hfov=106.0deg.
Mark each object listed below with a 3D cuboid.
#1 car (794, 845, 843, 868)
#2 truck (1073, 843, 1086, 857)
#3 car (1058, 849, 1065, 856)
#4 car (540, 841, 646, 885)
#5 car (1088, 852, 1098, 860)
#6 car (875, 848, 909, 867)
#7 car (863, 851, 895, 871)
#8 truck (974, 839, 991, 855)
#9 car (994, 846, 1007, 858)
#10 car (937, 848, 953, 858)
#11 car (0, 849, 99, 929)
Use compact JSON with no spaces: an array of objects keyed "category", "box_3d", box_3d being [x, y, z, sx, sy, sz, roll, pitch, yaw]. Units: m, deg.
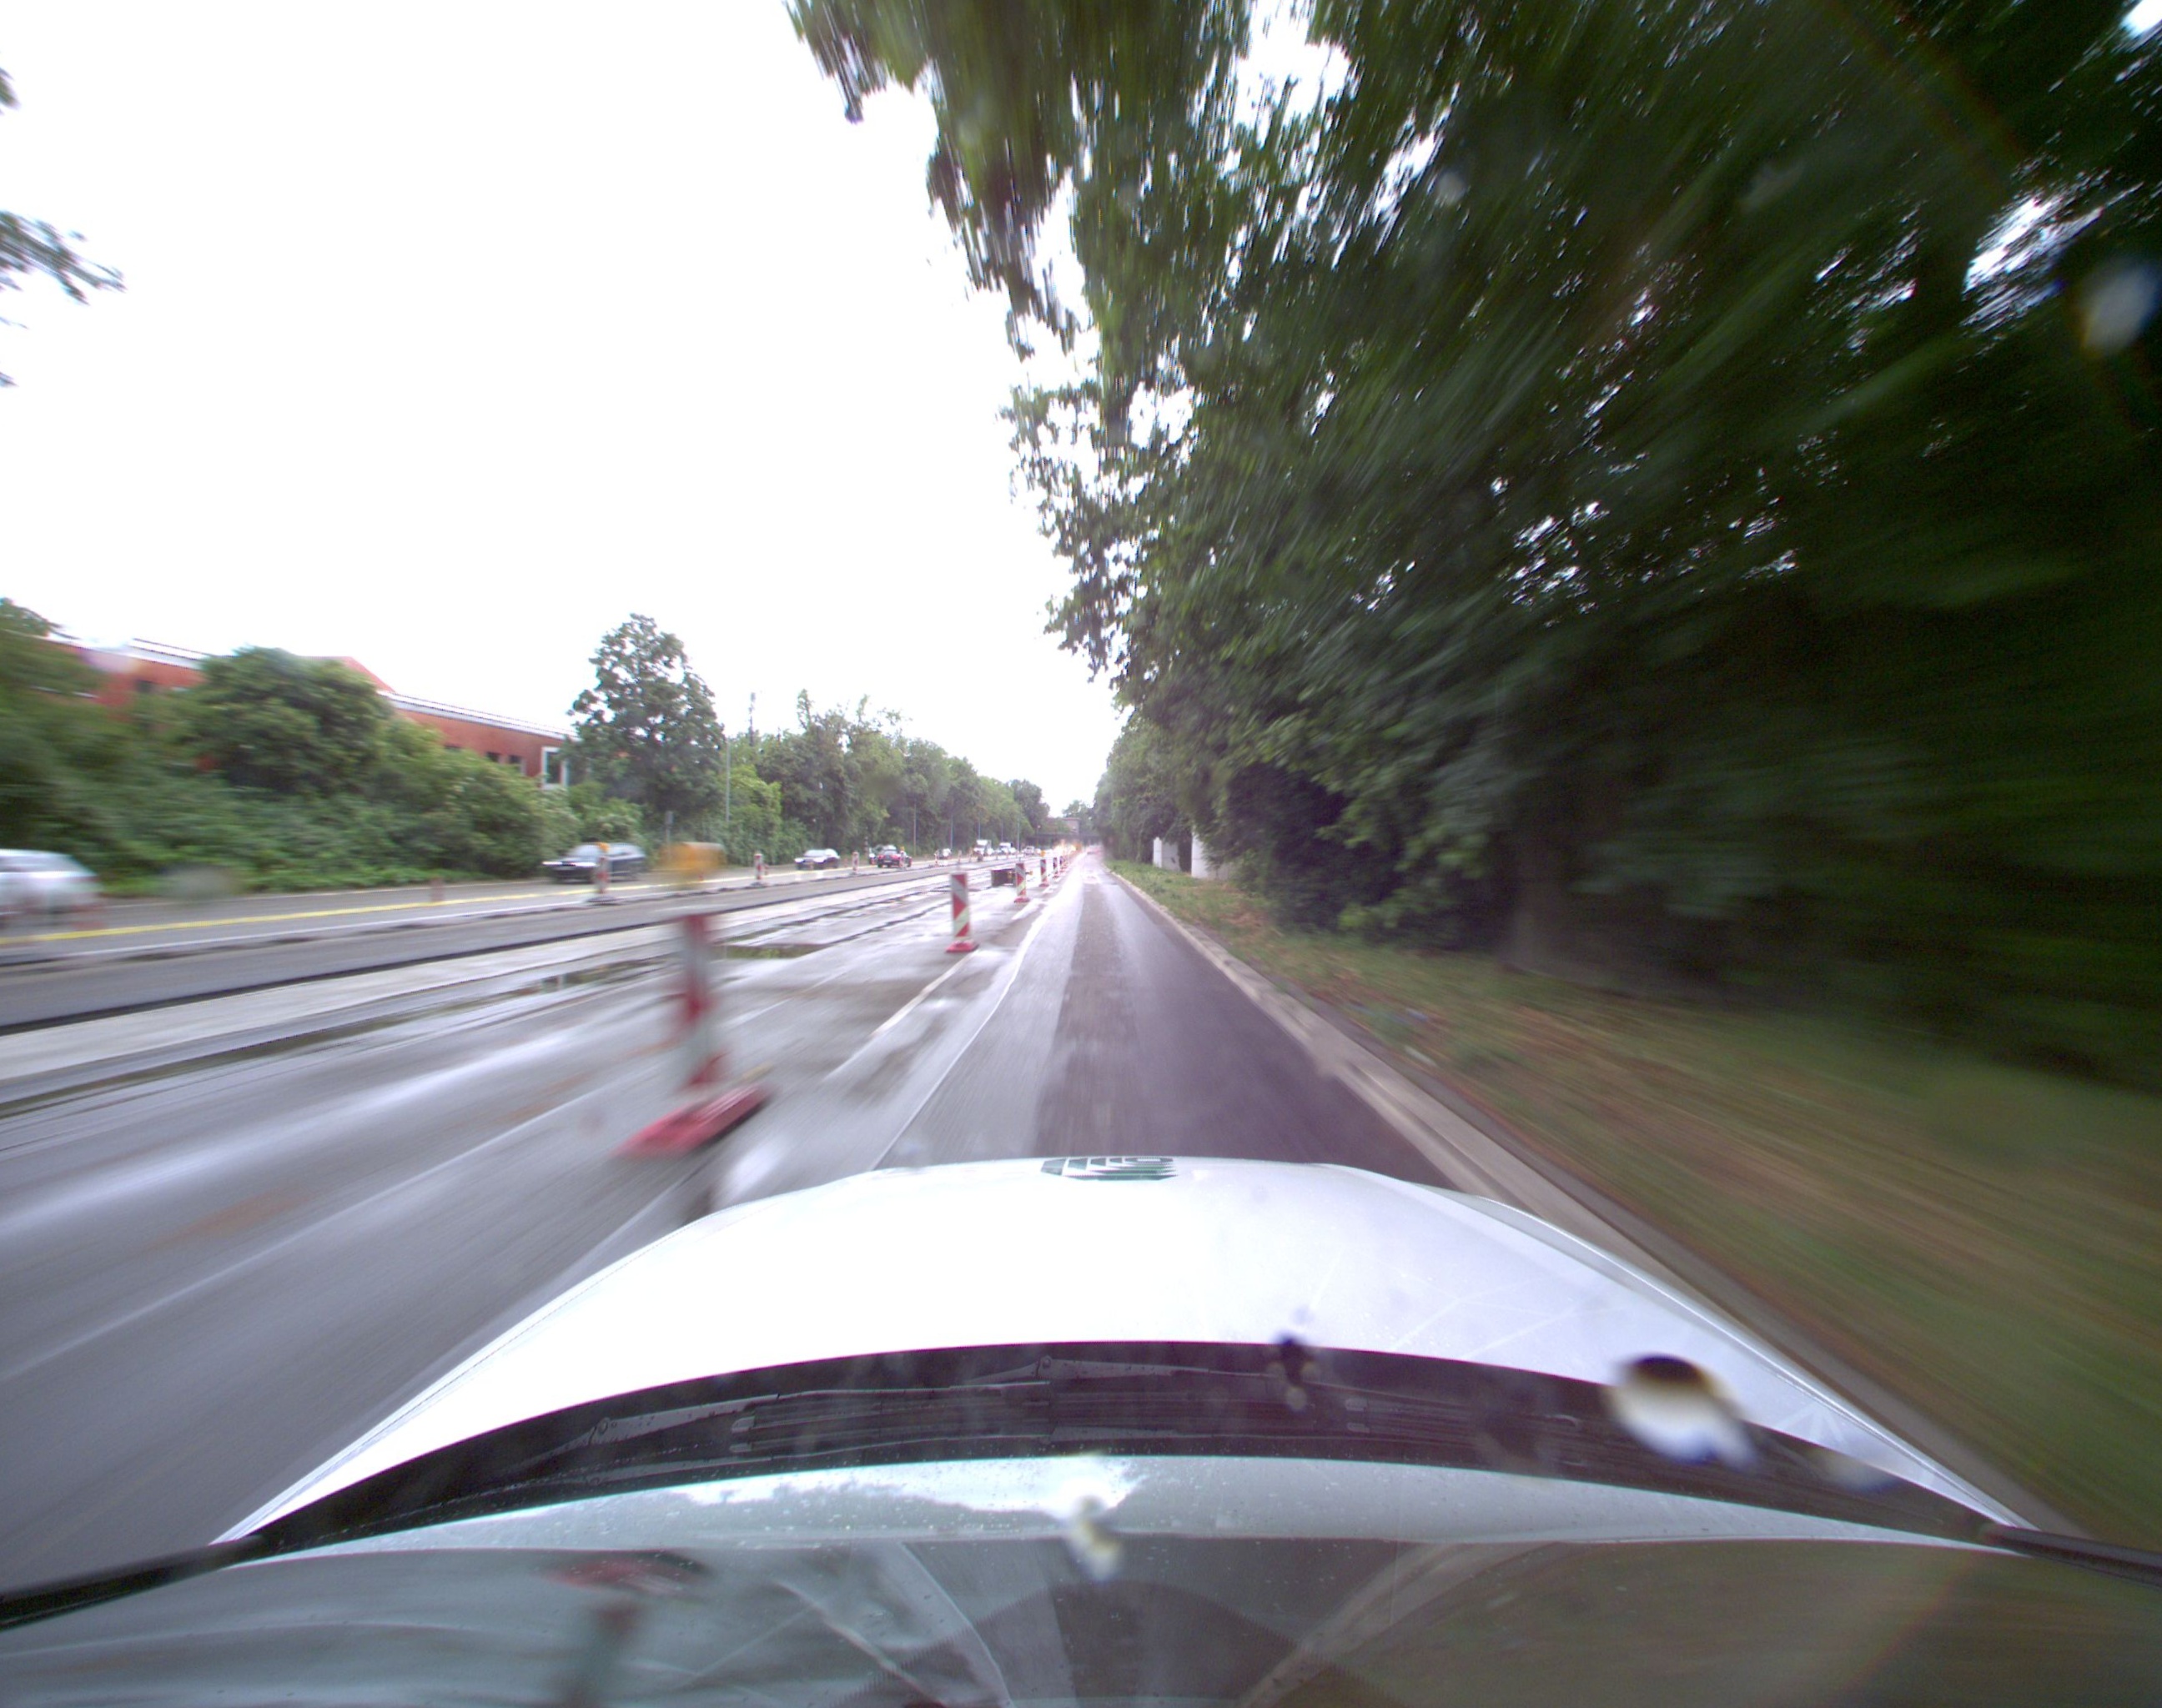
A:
[{"category":"car","box_3d":[-17.826,0.188,55.463,1.755,1.483,4.899,0,0,0]},{"category":"truck","box_3d":[-0.347,-1.048,216.102,3.248,3.497,13.871,1,0,1]},{"category":"car","box_3d":[-5.724,-0.454,238.046,1.664,1.808,4.322,1,1,1]},{"category":"car","box_3d":[-20.483,0.352,34.421,1.647,1.685,4.533,1,0,1]},{"category":"car","box_3d":[2.016,0.336,140.322,1.691,1.336,3.491,-2,0,1]},{"category":"car","box_3d":[-14.545,0.244,62.902,1.602,1.404,4.041,1,0,0]},{"category":"car","box_3d":[-18.069,0.653,73.177,1.729,1.722,4.493,1,0,0]},{"category":"truck","box_3d":[-18.719,-1.317,155.251,2.237,2.940,6.937,1,0,2]},{"category":"car","box_3d":[-17.594,-0.509,178.173,2.092,2.579,6.856,1,0,2]},{"category":"car","box_3d":[-17.489,-0.141,104.765,1.444,1.332,3.858,0,0,-2]},{"category":"car","box_3d":[-20.360,0.638,13.793,1.812,1.419,4.603,1,0,1]}]
